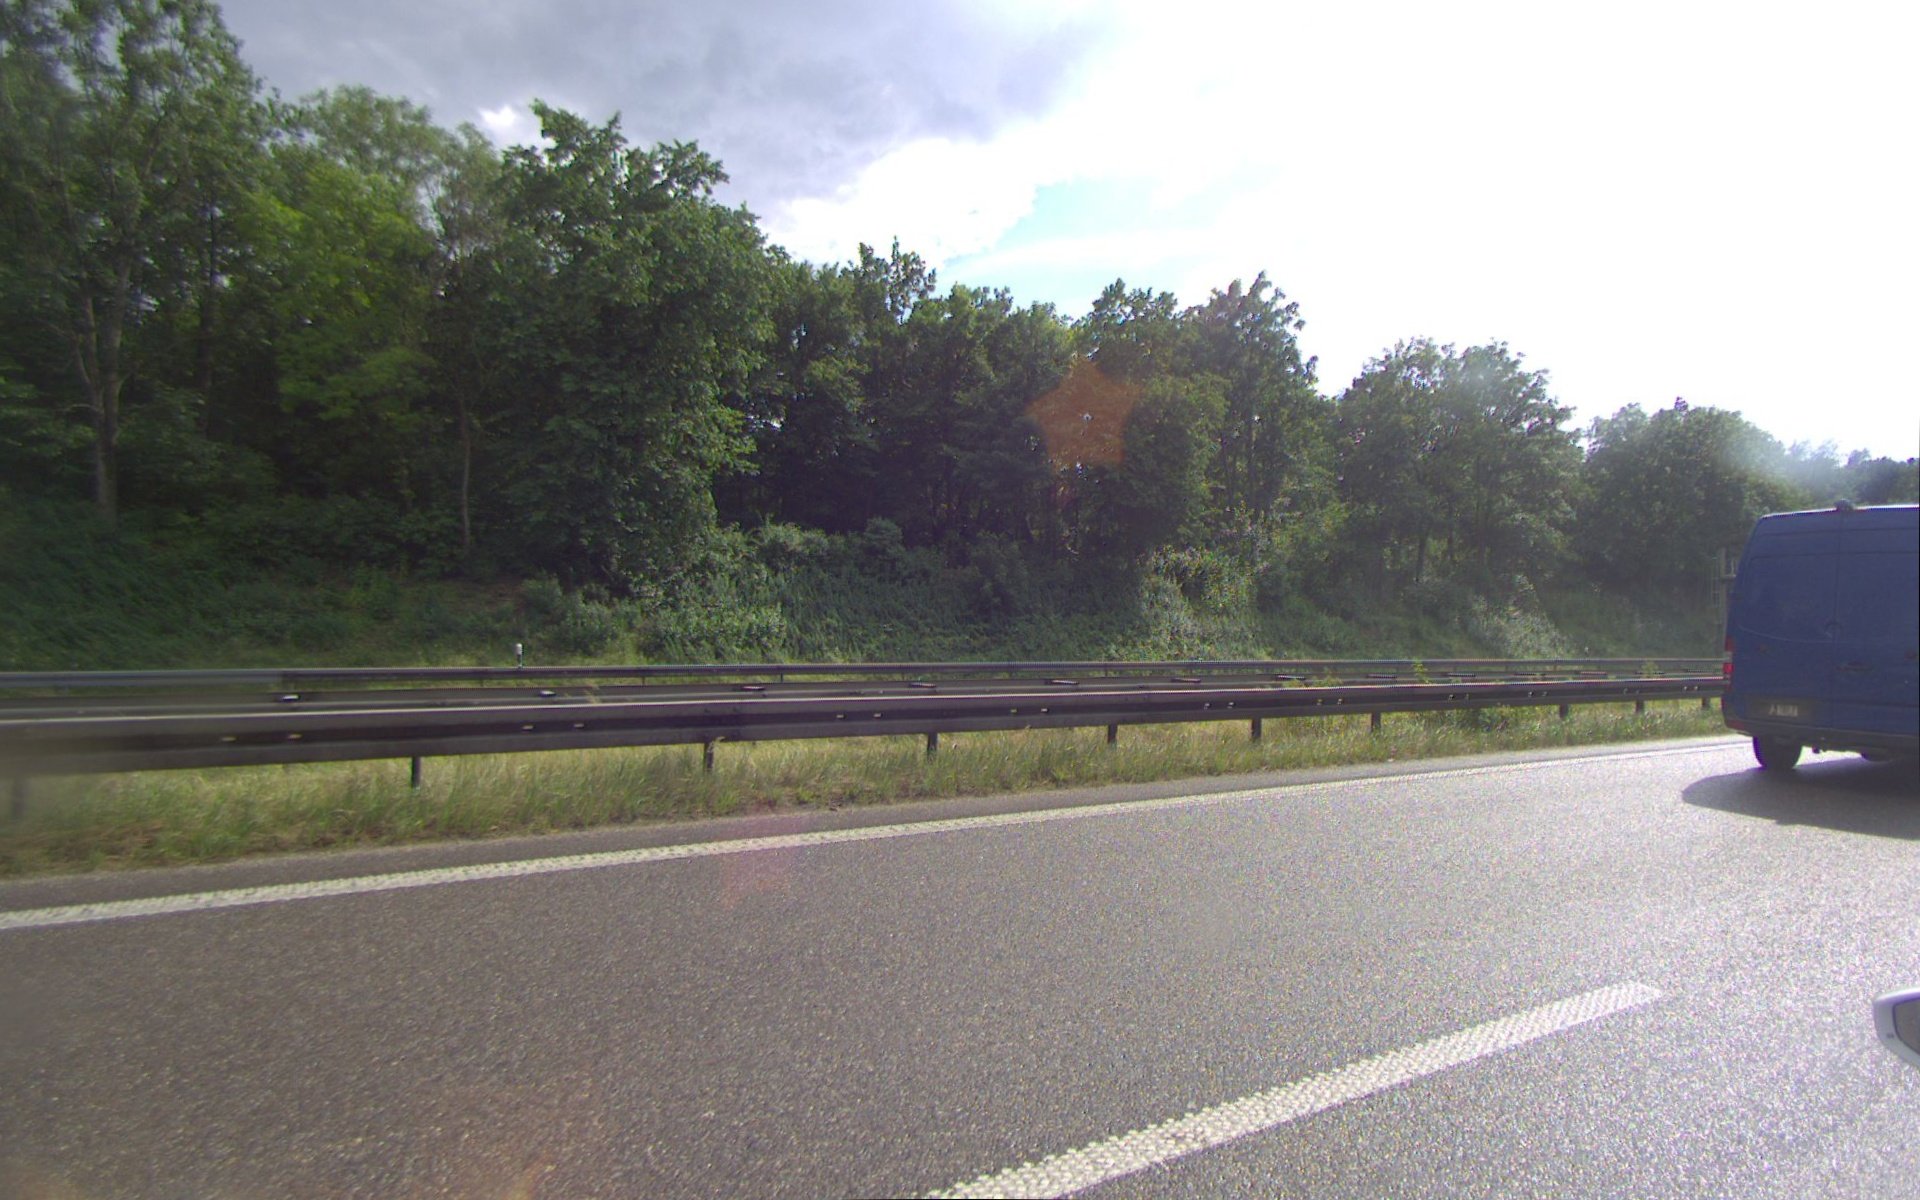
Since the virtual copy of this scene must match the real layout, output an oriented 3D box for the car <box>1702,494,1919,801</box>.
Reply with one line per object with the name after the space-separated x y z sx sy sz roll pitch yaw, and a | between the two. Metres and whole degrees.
10.498 0.484 10.792 5.710 2.684 2.005 2 0 -31 | car
